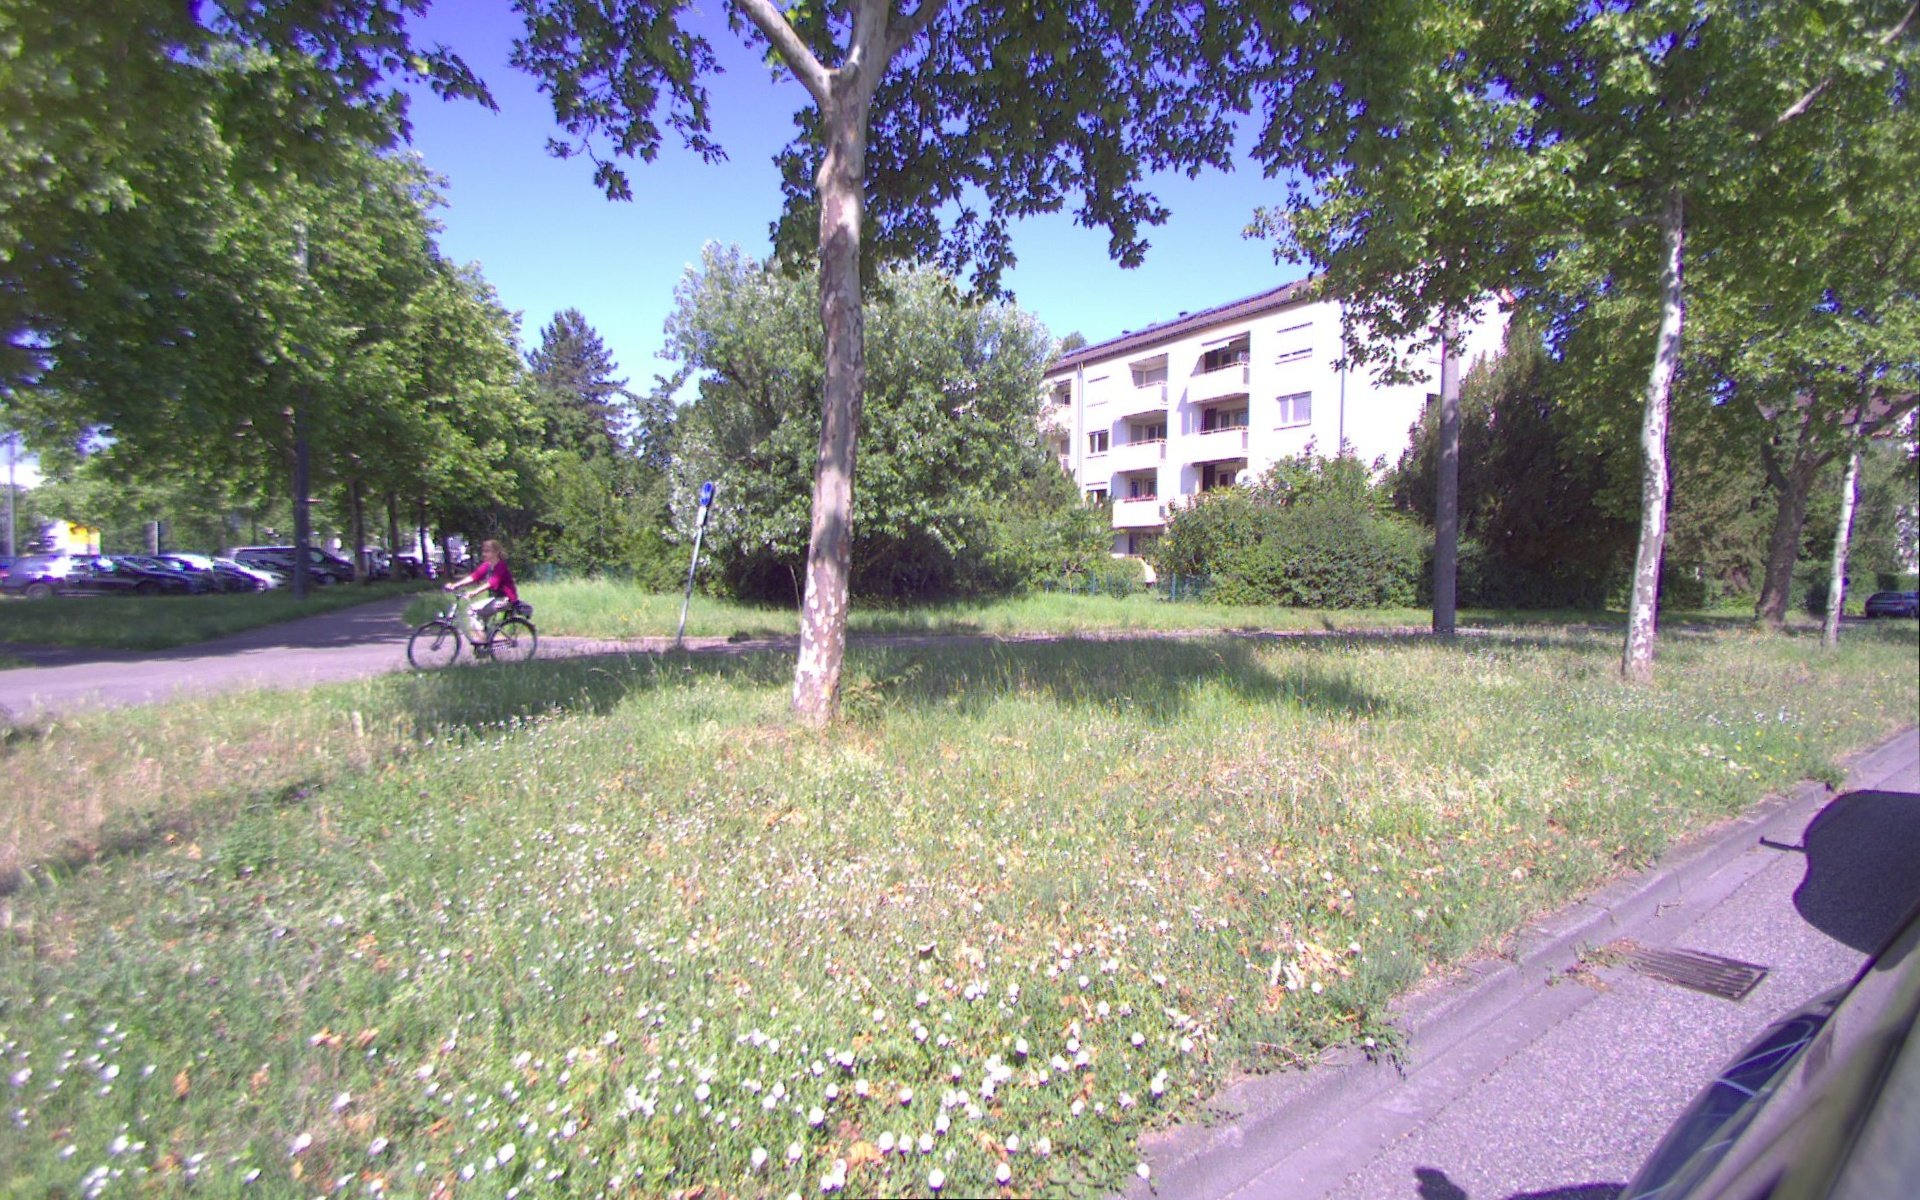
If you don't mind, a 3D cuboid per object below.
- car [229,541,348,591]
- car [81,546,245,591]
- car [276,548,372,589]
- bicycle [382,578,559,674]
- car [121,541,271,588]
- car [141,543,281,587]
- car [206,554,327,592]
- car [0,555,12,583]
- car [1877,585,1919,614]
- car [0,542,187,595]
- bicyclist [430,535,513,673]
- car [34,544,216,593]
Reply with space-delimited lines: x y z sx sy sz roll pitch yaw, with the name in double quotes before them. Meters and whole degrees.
"car" -32.383 -1.617 48.983 4.494 2.318 2.004 0 2 -24
"car" -27.996 -1.101 35.757 4.267 1.509 2.003 0 2 -29
"car" -35.829 -1.779 57.147 4.497 2.236 2.003 0 2 -29
"bicycle" -6.626 0.312 13.801 0.690 1.200 2.096 2 2 38
"car" -28.694 -1.292 38.202 4.267 1.653 2.002 0 0 -29
"car" -29.858 -1.397 40.529 4.267 1.653 2.003 0 2 -29
"car" -30.948 -1.196 45.334 4.267 1.653 2.003 0 2 -29
"car" -64.767 -2.034 66.146 1.991 1.816 3.941 0 0 41
"car" 47.711 -0.030 50.460 4.004 1.389 1.510 0 2 -25
"car" -26.213 -0.940 30.598 4.267 1.509 2.003 -1 2 -29
"bicyclist" -6.643 0.031 13.774 0.699 1.809 0.799 2 2 38
"car" -27.138 -1.003 33.100 4.267 1.509 2.003 0 2 -29
